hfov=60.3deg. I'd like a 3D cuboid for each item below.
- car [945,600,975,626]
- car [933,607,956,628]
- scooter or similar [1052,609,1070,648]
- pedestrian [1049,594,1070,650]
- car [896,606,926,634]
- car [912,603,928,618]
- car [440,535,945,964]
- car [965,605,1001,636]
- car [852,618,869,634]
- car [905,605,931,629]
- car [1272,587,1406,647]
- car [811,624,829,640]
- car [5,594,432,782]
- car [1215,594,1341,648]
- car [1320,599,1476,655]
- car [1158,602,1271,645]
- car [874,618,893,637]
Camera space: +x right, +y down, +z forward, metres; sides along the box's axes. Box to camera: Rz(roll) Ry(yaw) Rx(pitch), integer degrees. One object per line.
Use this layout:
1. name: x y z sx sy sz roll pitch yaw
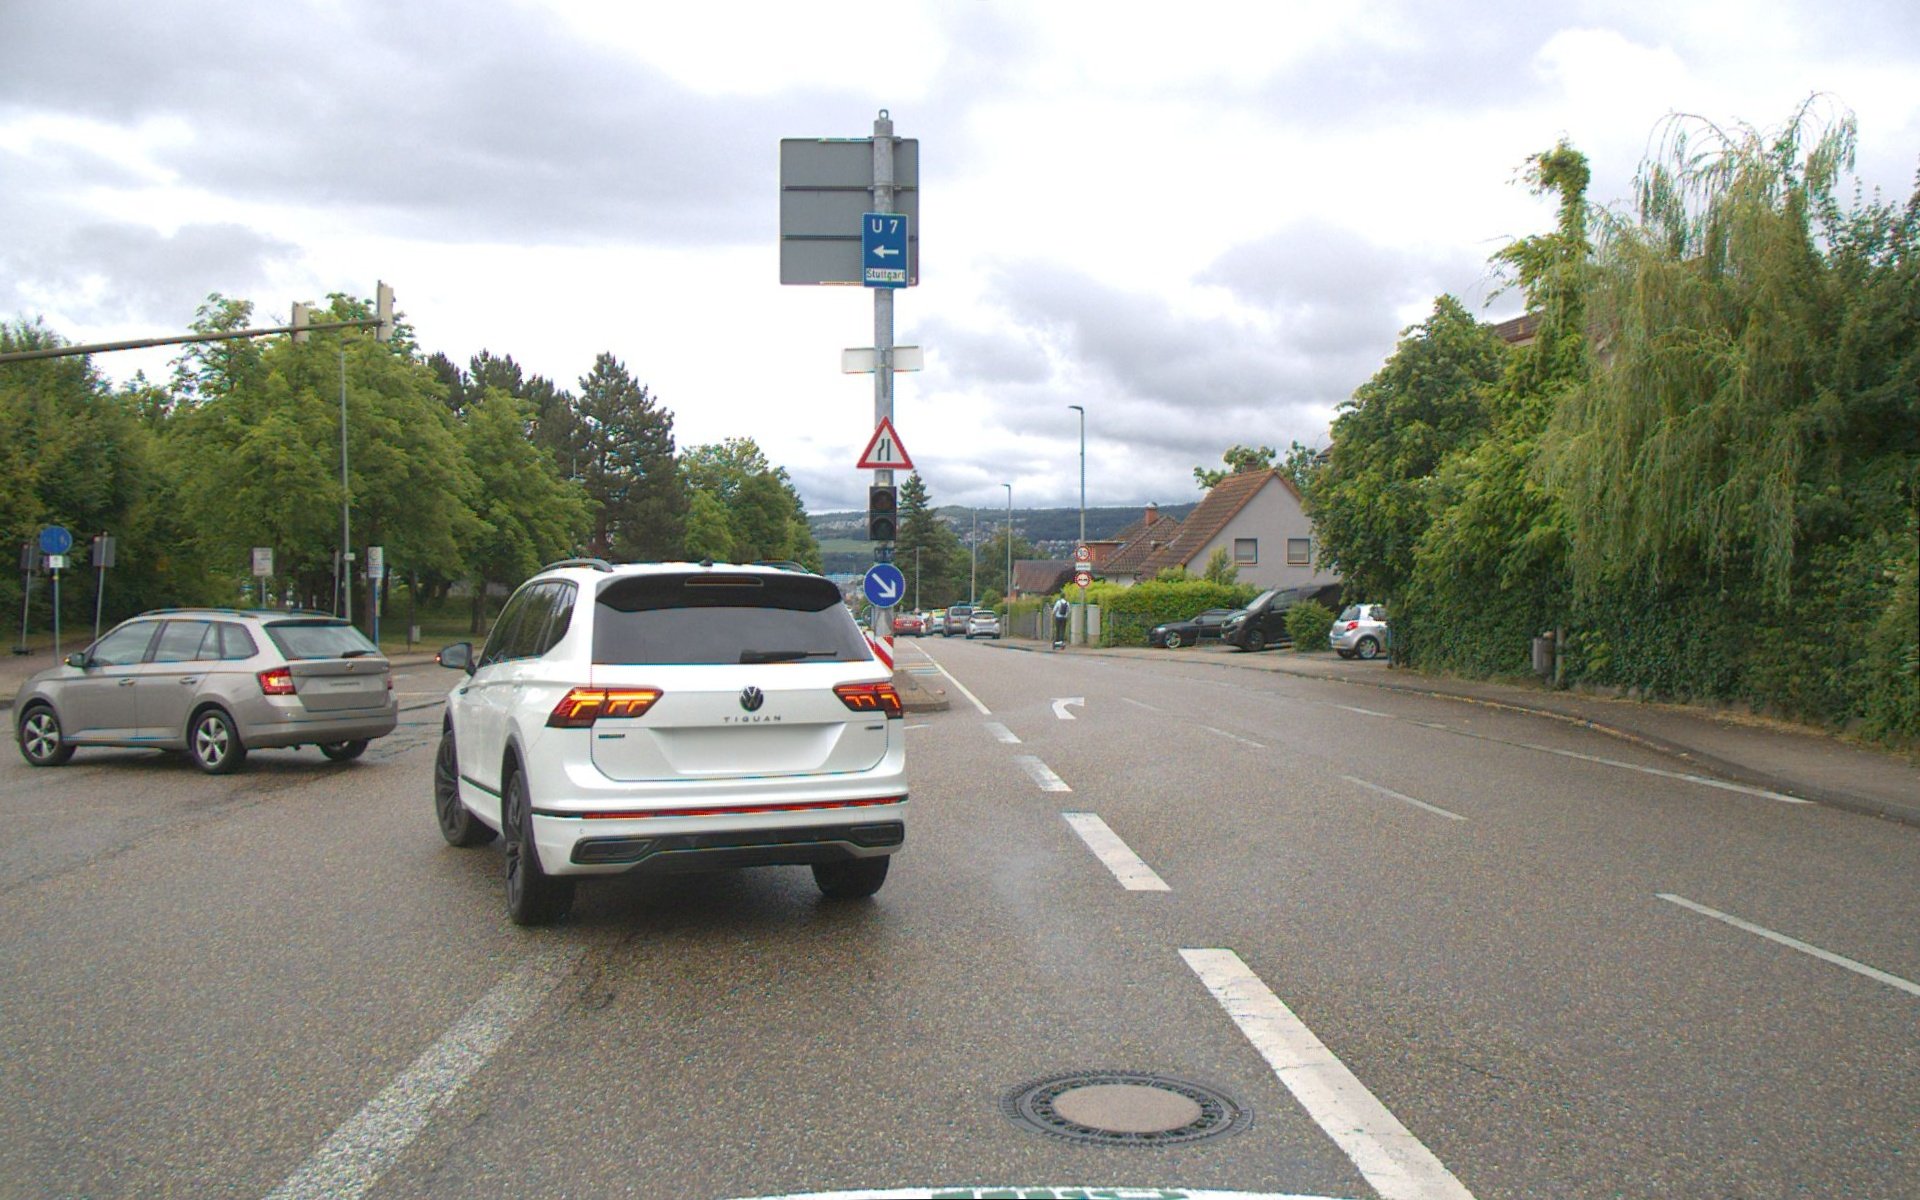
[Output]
1. car: -0.013 0.847 107.596 1.813 1.602 3.999 1 0 -1
2. car: -1.278 1.356 132.515 1.813 1.602 3.999 -1 0 -1
3. scooter or similar: 3.691 1.046 60.520 0.452 1.385 1.383 0 0 -4
4. pedestrian: 3.633 0.791 60.443 0.642 2.037 0.717 0 0 -5
5. car: -2.959 1.213 100.768 1.719 1.602 3.999 -1 0 -1
6. car: -4.538 1.223 189.408 1.813 1.602 3.999 -1 0 -1
7. car: -1.694 0.603 8.964 1.739 1.725 4.242 1 0 -23
8. car: 1.212 1.109 89.232 1.813 1.602 3.999 1 -1 -1
9. car: -11.691 3.078 193.966 1.849 1.825 3.999 0 0 -2
10. car: -2.881 1.151 113.593 1.703 1.602 3.999 -1 0 -1
11. car: 11.330 0.498 49.562 3.556 1.777 1.706 0 0 -5
12. car: -15.774 3.623 187.030 1.807 1.747 3.999 0 0 -2
13. car: -7.195 0.767 16.019 3.838 1.617 1.802 0 0 28
14. car: 9.948 0.657 51.905 3.557 1.654 1.789 0 0 -5
15. car: 11.679 0.724 44.179 3.644 1.420 1.725 -1 -1 -9
16. car: 8.711 0.811 56.800 3.614 1.394 1.518 1 -2 -3
17. car: -7.672 2.722 165.971 1.848 1.825 3.999 0 0 -1
